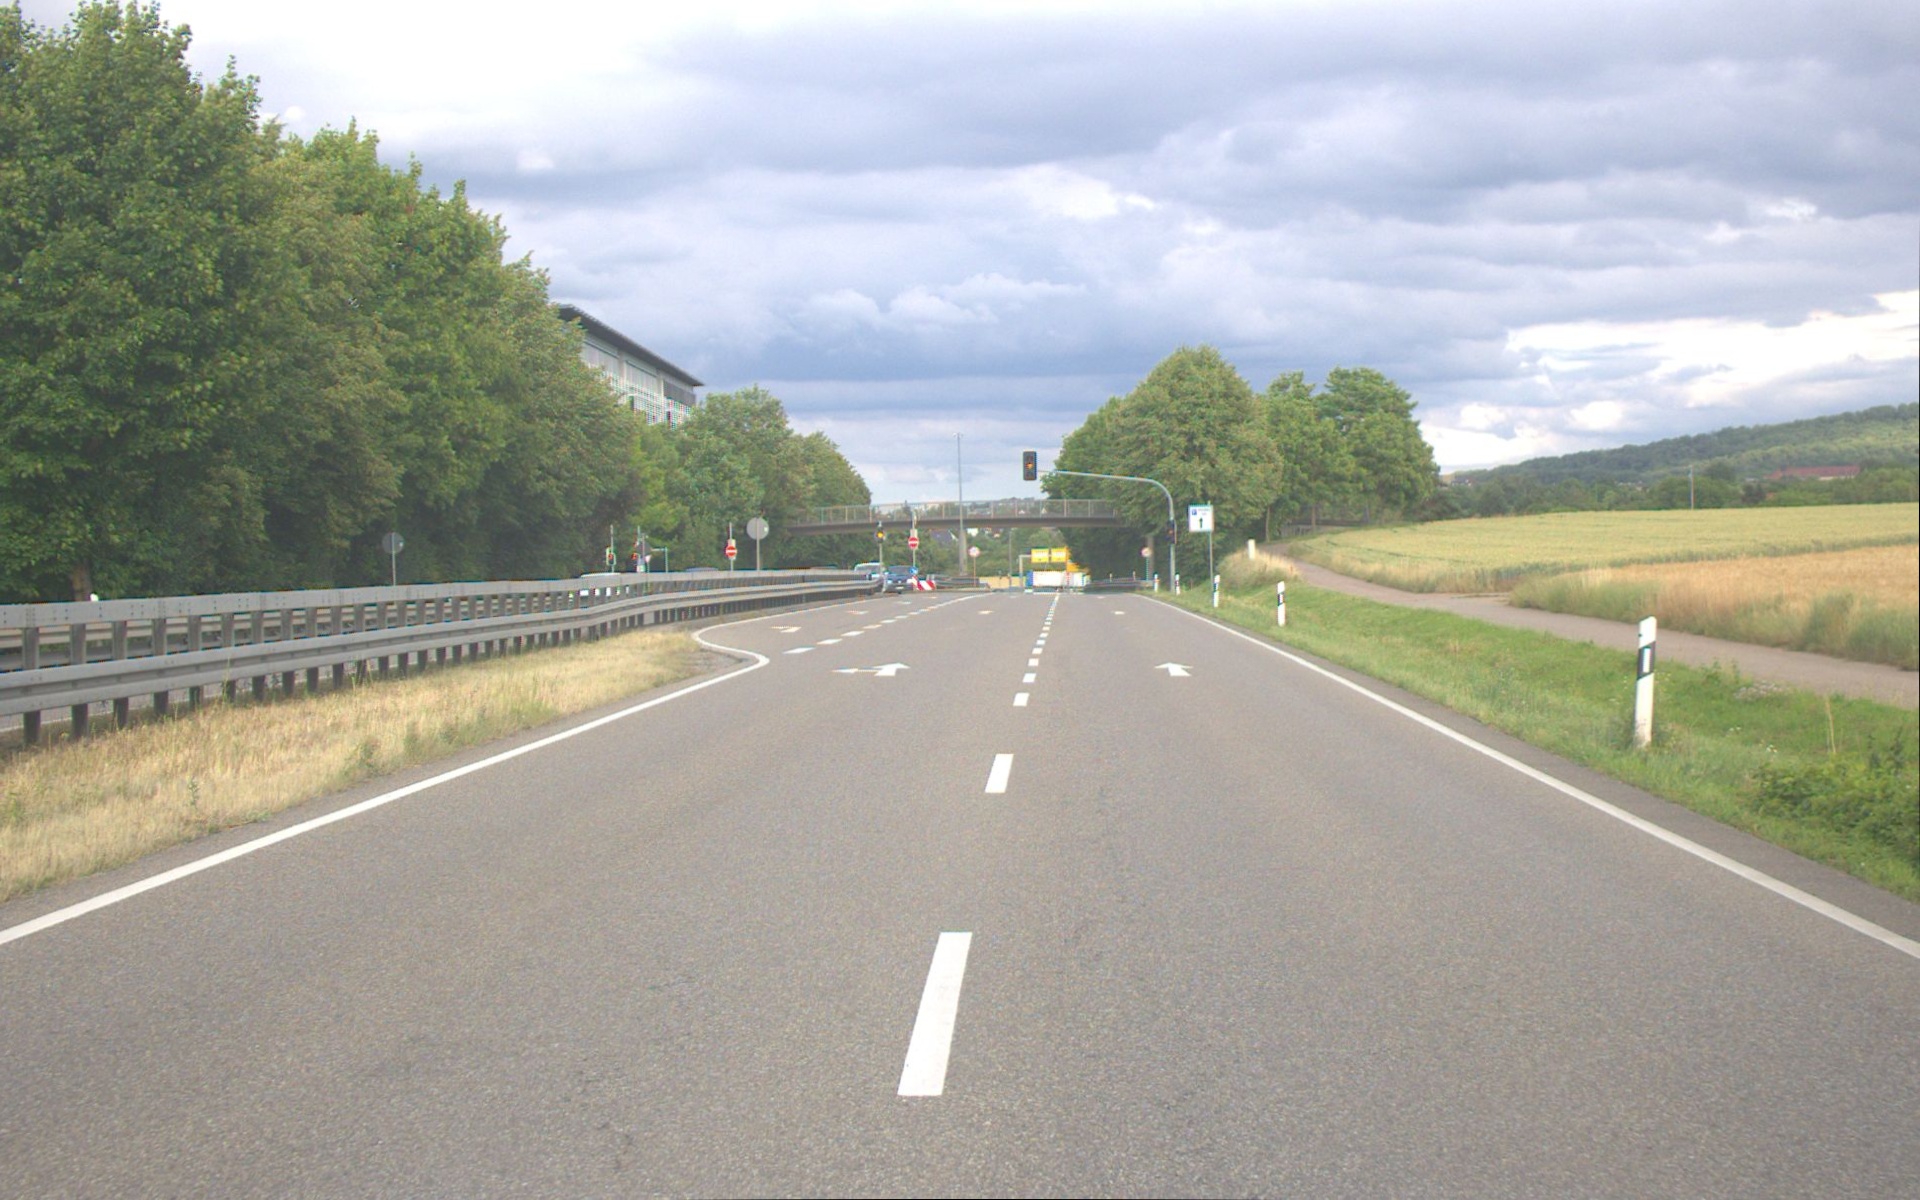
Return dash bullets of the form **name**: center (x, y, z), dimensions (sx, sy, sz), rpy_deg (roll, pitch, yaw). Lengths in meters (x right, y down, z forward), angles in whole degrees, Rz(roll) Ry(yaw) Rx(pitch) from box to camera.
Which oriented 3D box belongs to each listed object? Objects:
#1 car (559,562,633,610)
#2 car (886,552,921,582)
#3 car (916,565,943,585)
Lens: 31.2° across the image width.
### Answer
- **car**: center (-11.520, -0.468, 109.112), dimensions (1.759, 1.408, 4.459), rpy_deg (-1, 1, 1)
- **car**: center (-3.670, -2.174, 224.128), dimensions (1.994, 1.867, 4.736), rpy_deg (-1, 1, 2)
- **car**: center (-1.696, -1.400, 192.739), dimensions (1.358, 1.088, 2.921), rpy_deg (-1, 1, 3)
